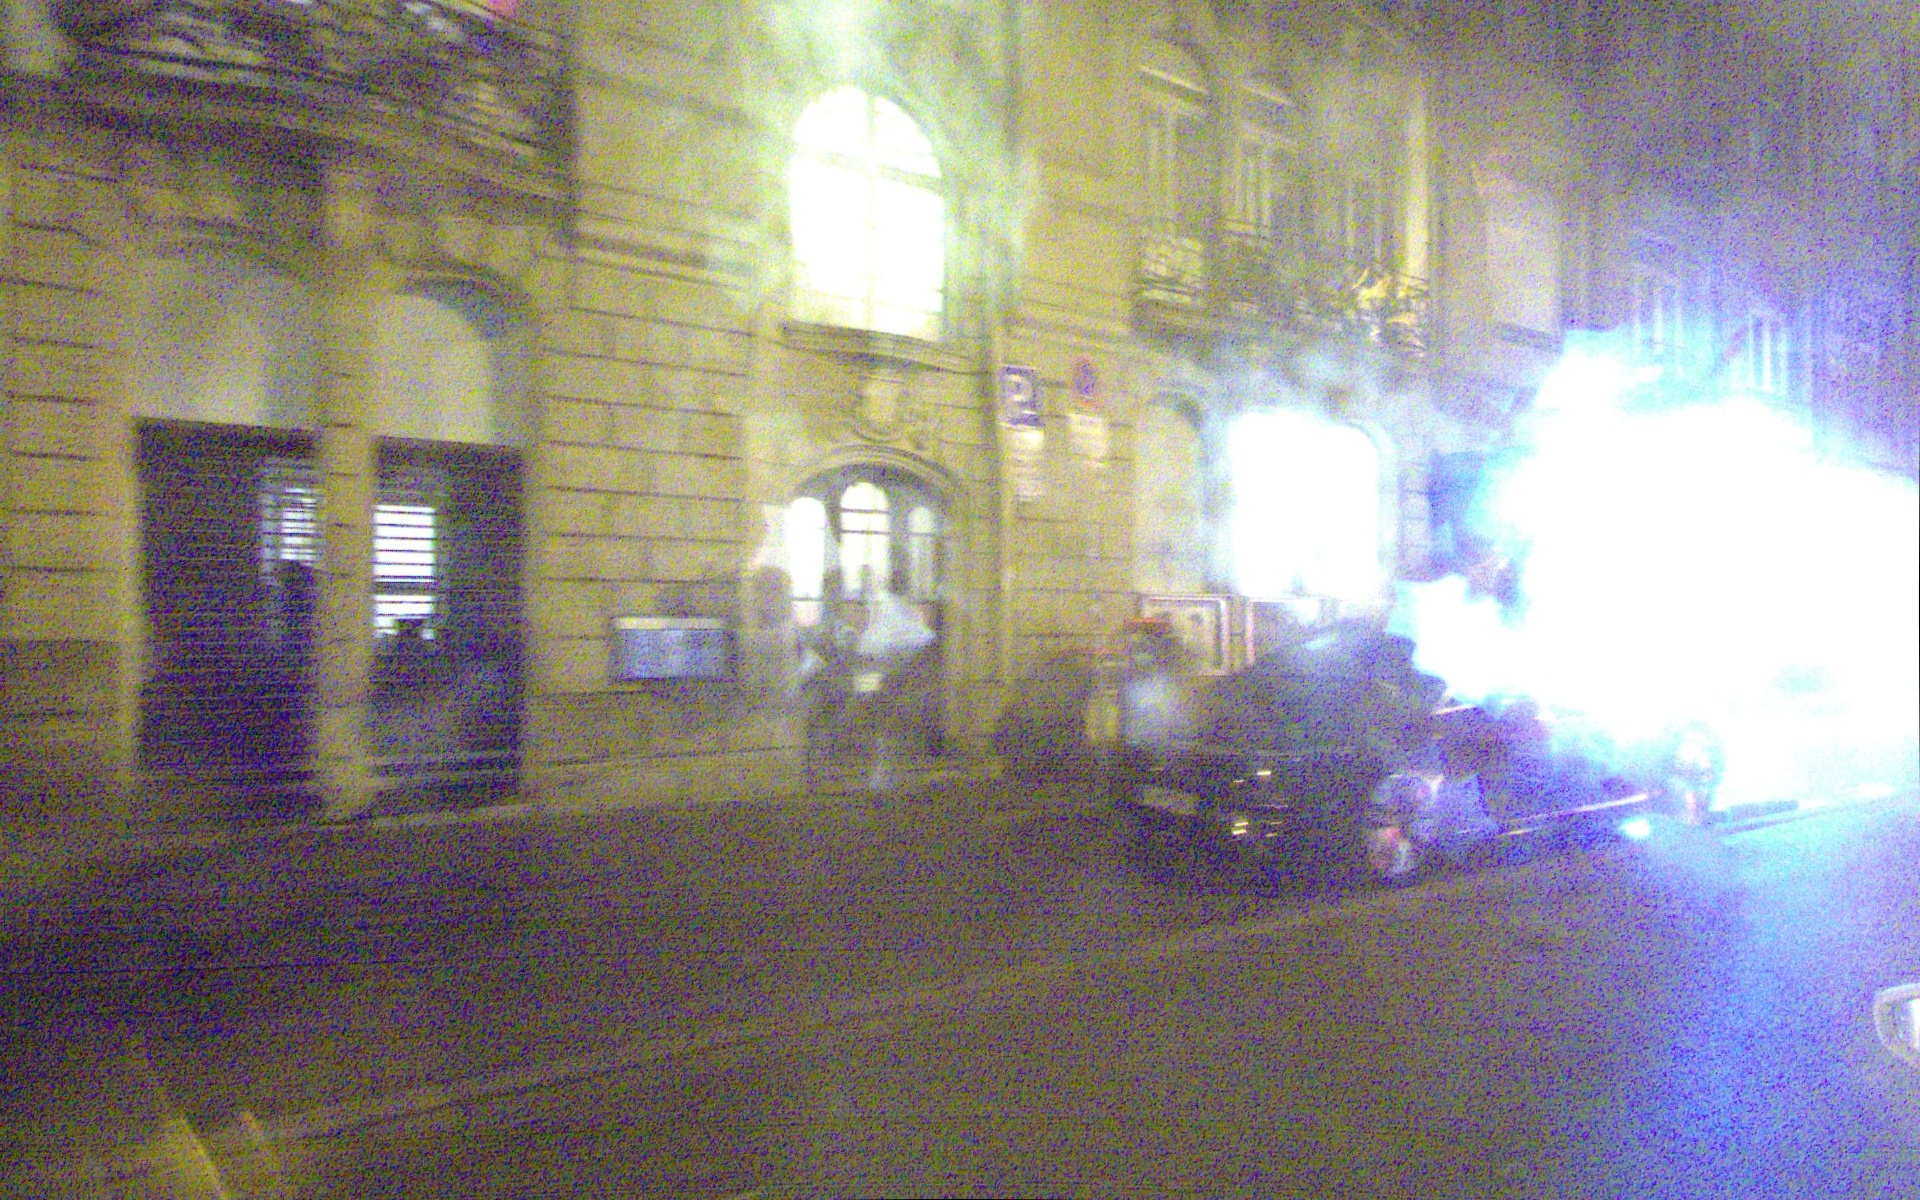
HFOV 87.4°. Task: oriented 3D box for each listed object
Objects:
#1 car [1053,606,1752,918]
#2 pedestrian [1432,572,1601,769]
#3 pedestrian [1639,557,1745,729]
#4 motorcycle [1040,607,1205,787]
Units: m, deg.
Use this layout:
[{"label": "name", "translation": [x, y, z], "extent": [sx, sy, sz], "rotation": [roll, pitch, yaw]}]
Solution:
[{"label": "car", "translation": [3.195, 0.829, 6.898], "extent": [4.971, 1.498, 1.838], "rotation": [1, -1, -30]}, {"label": "pedestrian", "translation": [5.751, 0.694, 10.391], "extent": [1.399, 1.888, 0.951], "rotation": [1, -2, -31]}, {"label": "pedestrian", "translation": [10.122, 0.577, 13.899], "extent": [1.104, 2.270, 0.795], "rotation": [1, -2, -31]}, {"label": "motorcycle", "translation": [1.459, 0.821, 8.962], "extent": [1.441, 1.490, 0.534], "rotation": [1, 0, -31]}]
